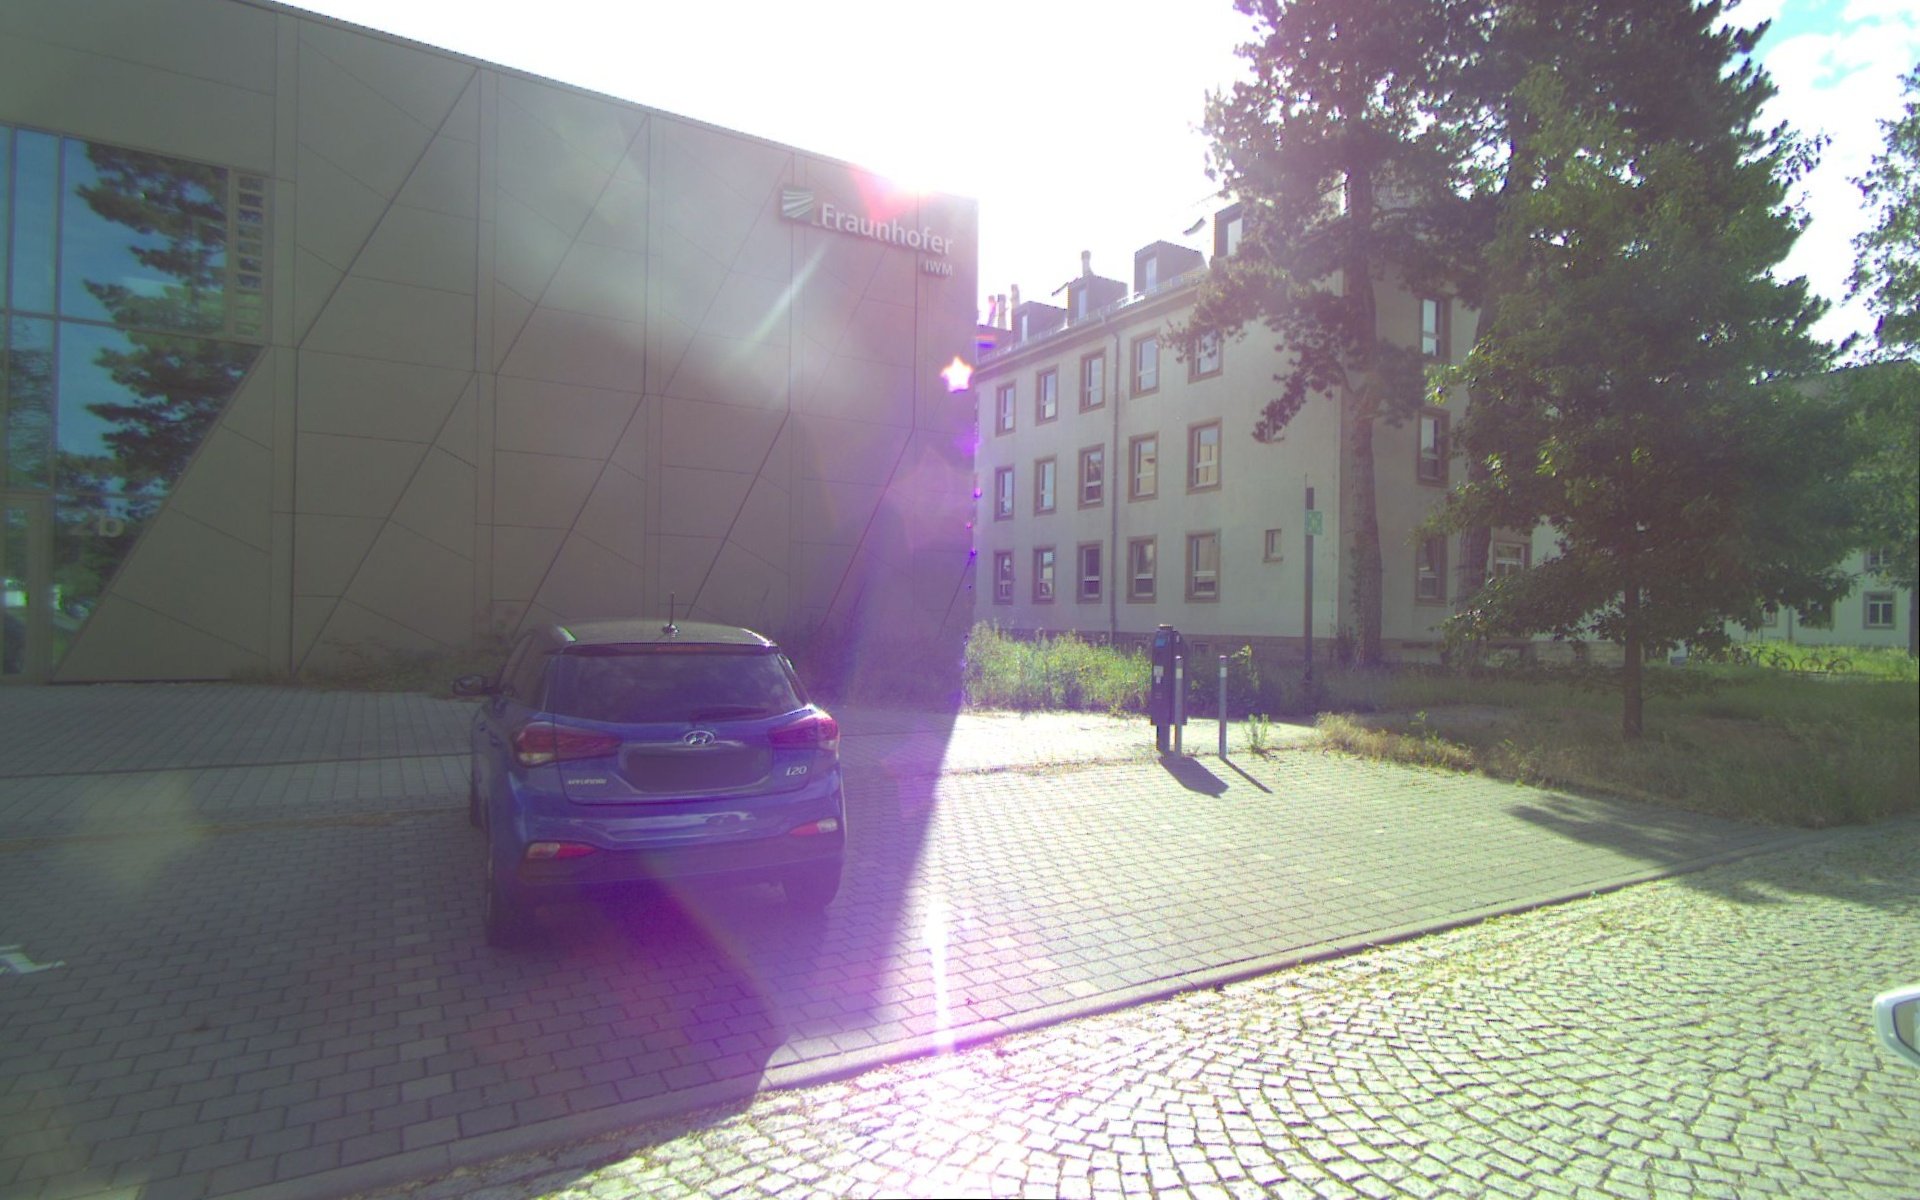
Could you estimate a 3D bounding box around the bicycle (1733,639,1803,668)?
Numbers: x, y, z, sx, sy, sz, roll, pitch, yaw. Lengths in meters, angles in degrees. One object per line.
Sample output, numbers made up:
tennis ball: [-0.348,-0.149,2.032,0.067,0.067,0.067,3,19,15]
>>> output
bicycle: [33.164,2.196,41.276,0.820,1.123,2.104,2,-1,-33]

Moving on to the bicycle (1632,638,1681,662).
bicycle: [31.887,2.294,45.983,2.524,1.061,0.896,2,-1,-31]

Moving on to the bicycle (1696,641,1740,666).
bicycle: [33.075,2.329,43.830,2.100,1.061,0.822,2,-1,-31]

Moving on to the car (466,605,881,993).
car: [-2.030,0.842,6.170,1.698,1.483,3.820,2,0,-27]

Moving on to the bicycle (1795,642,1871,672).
bicycle: [34.296,2.228,39.487,0.820,1.061,2.104,2,-1,-33]

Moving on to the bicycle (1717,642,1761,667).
bicycle: [33.498,2.342,43.175,2.100,1.061,0.822,2,-1,-31]

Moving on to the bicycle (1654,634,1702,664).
bicycle: [32.335,2.189,45.205,2.524,1.298,0.822,2,-1,-31]

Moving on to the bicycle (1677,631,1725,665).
bicycle: [32.975,2.116,44.691,2.524,1.456,0.822,2,-1,-31]
